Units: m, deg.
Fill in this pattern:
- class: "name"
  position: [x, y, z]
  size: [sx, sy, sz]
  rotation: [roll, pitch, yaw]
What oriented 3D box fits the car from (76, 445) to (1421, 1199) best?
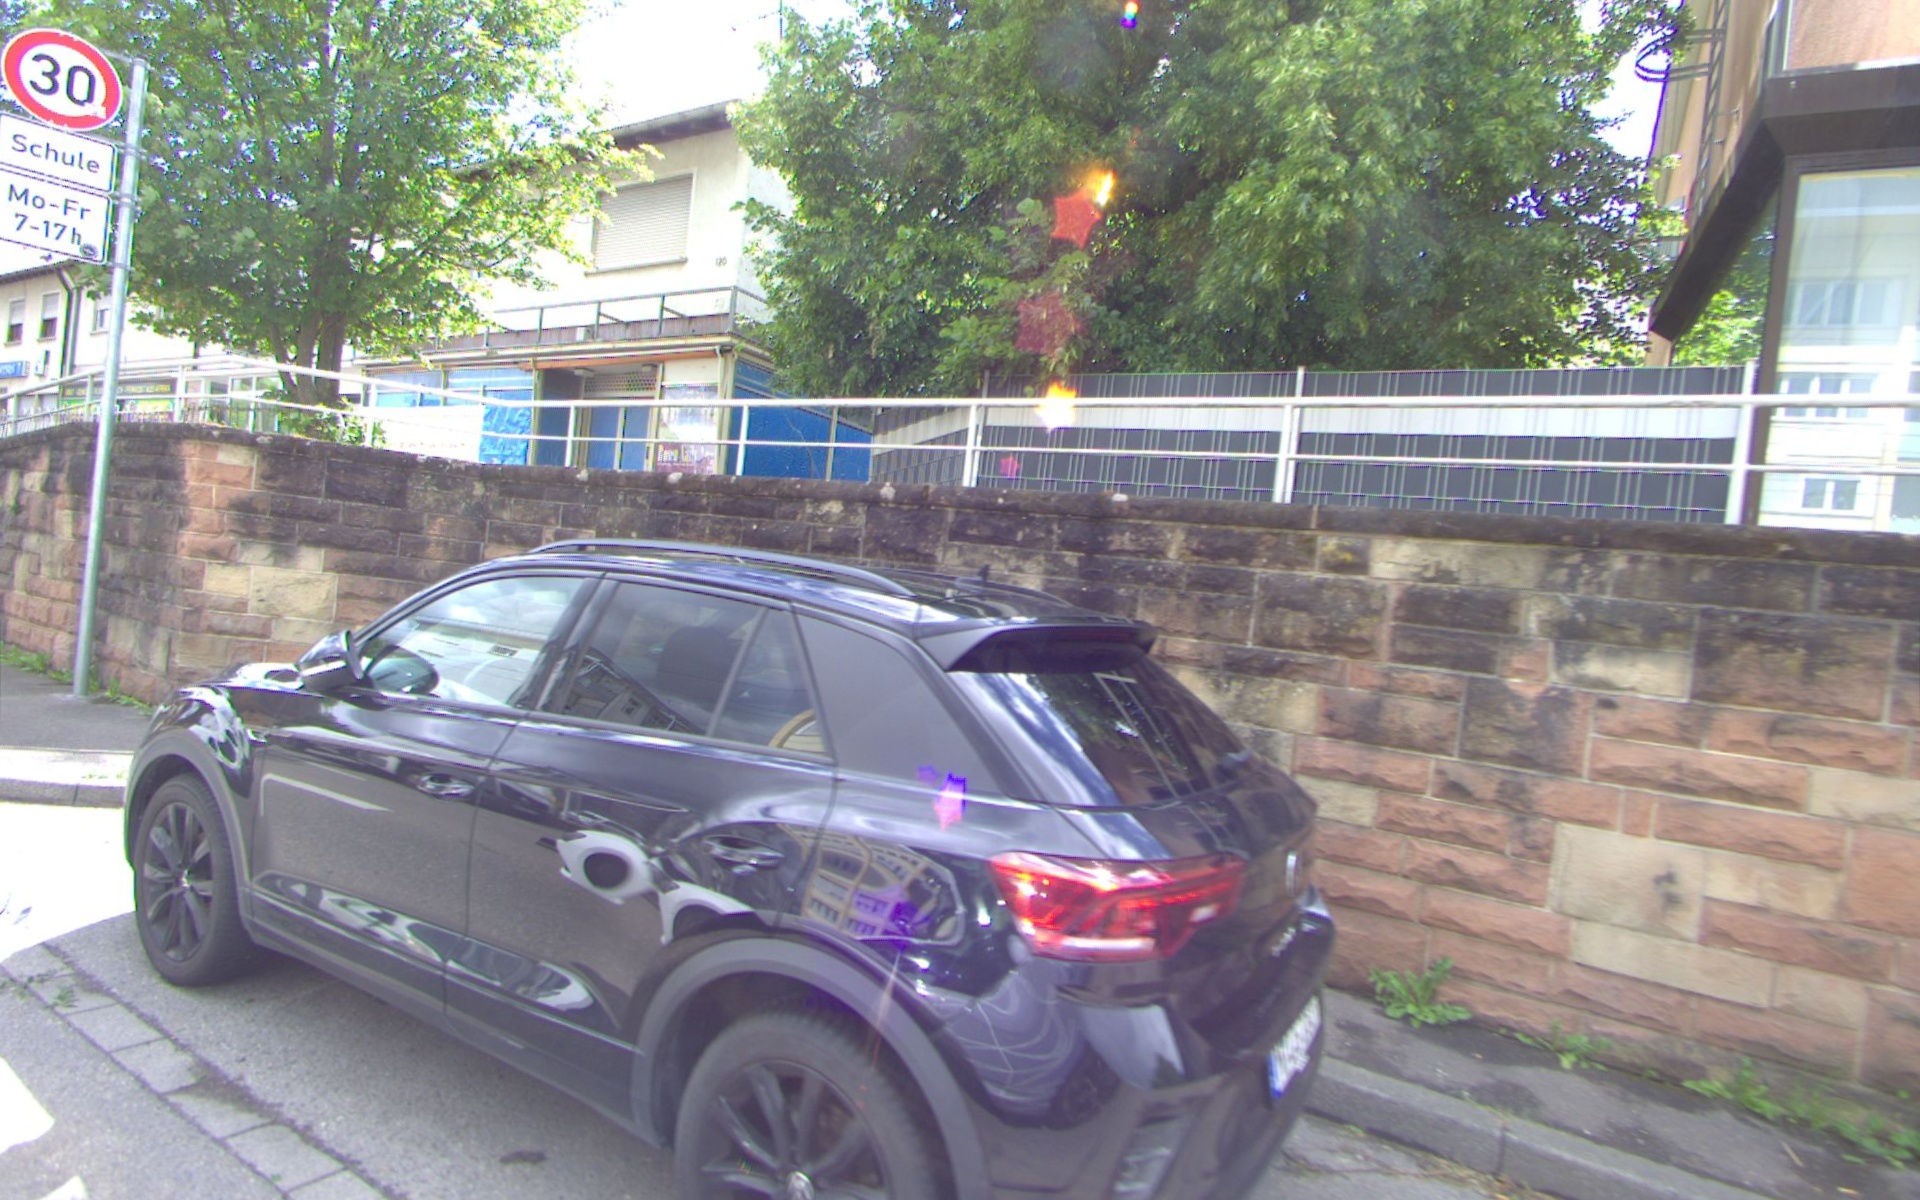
- class: "car"
  position: [-0.864, 0.534, 3.235]
  size: [3.934, 1.660, 1.852]
  rotation: [7, 1, 32]
